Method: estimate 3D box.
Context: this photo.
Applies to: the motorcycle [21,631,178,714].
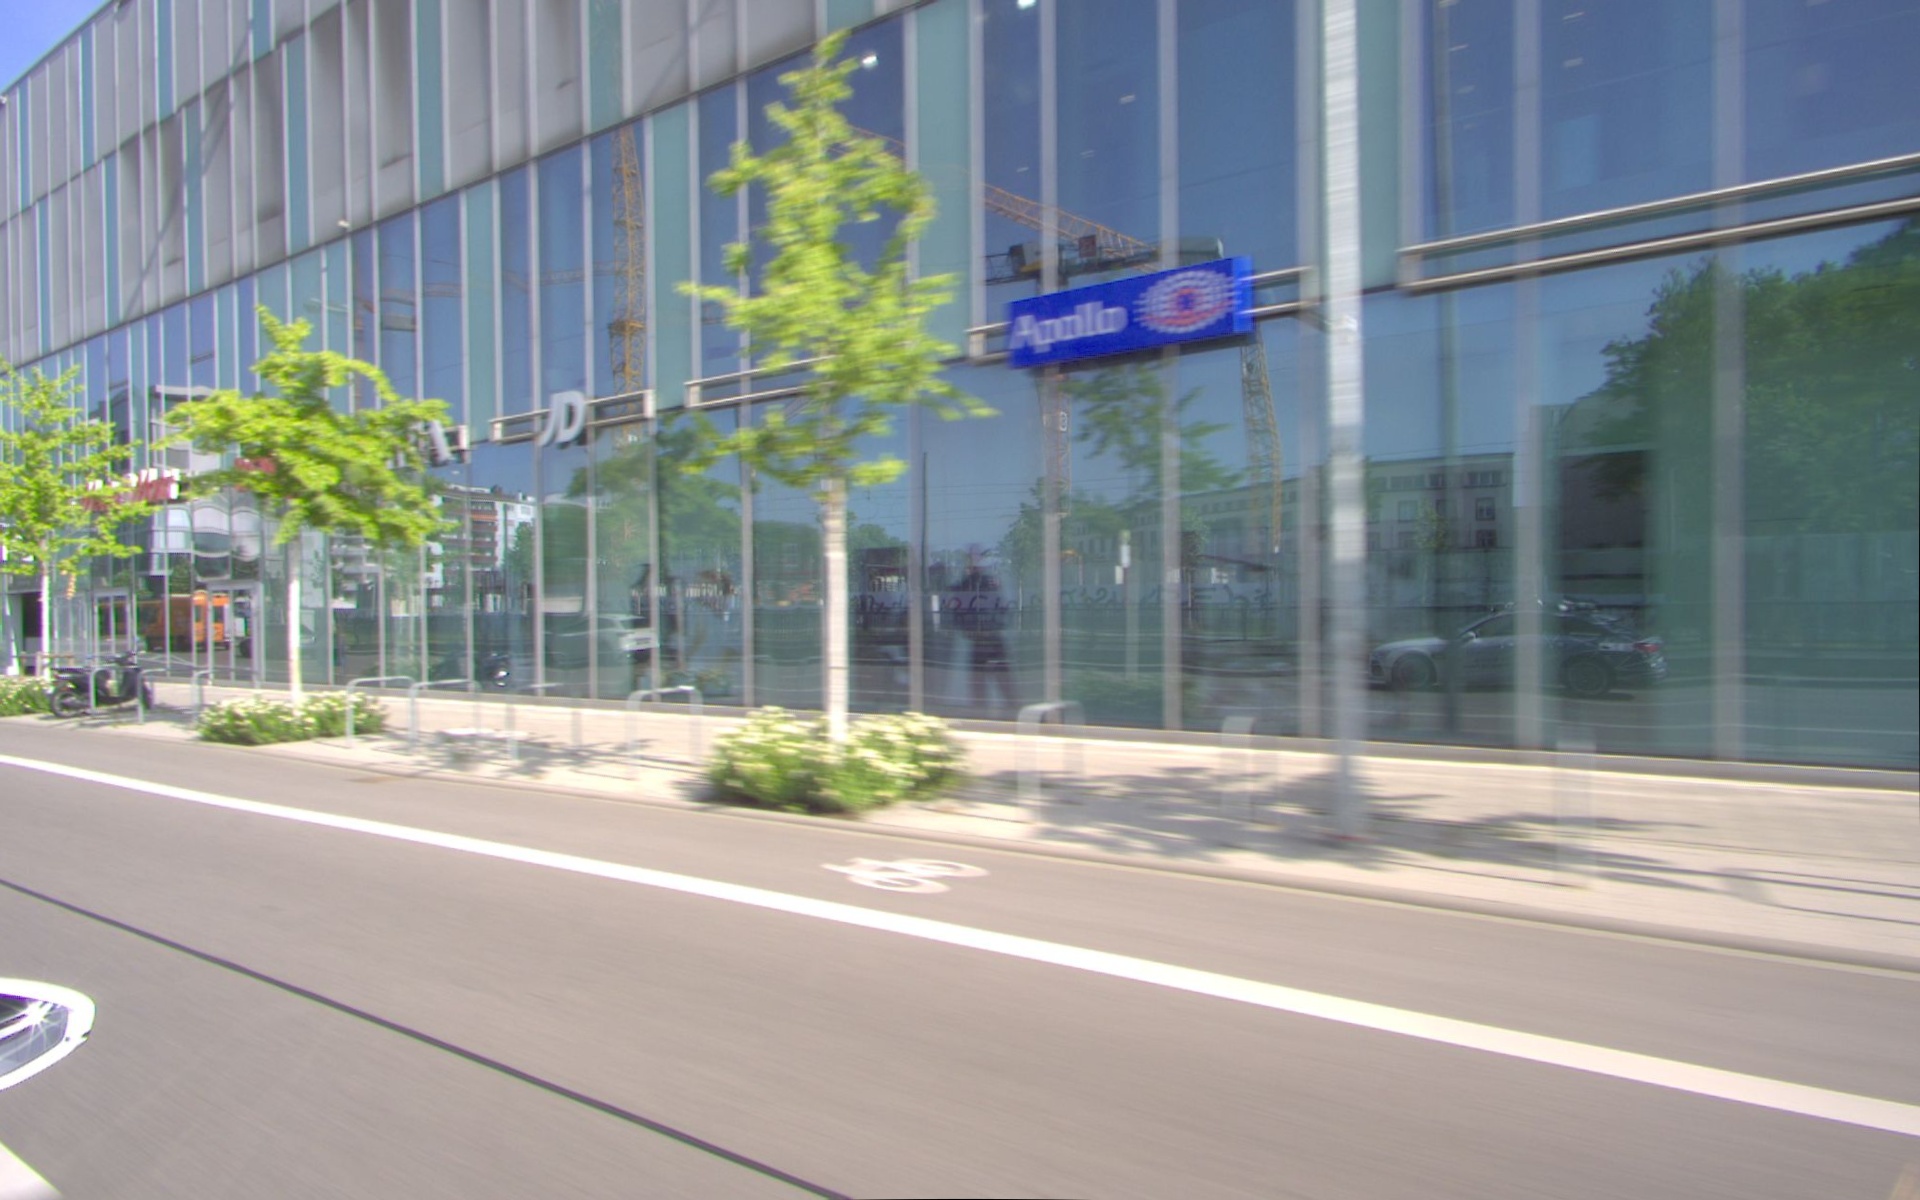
[{"bbox_3d":[-15.437,1.254,18.039,0.853,1.367,1.970,0,0,21],"label":"motorcycle"}]
